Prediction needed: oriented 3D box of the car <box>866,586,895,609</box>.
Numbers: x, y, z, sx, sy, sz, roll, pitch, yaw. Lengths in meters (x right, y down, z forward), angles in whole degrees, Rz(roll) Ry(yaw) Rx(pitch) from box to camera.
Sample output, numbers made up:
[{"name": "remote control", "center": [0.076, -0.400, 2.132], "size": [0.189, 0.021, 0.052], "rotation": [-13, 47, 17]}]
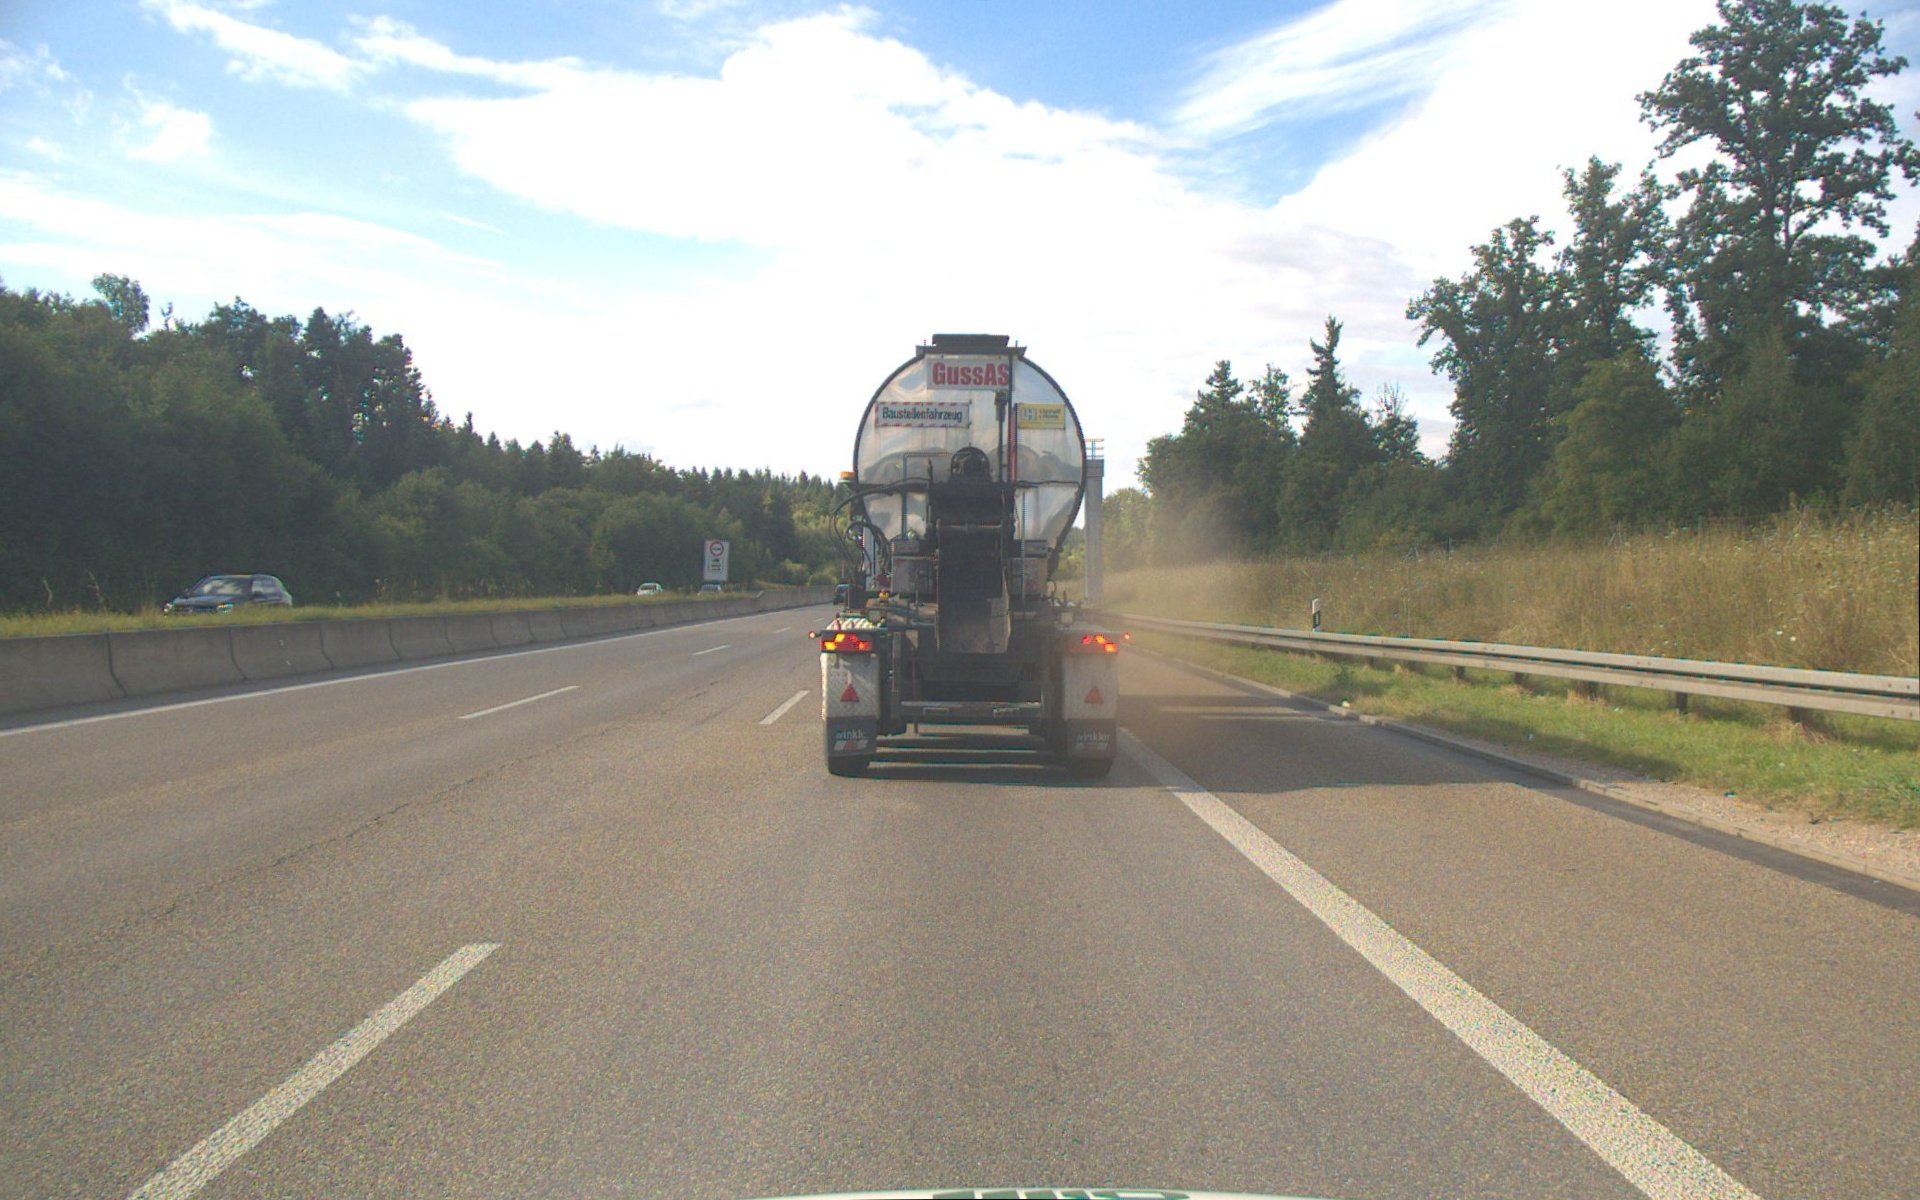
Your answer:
[{"name": "car", "center": [-5.368, -0.169, 111.734], "size": [1.798, 1.544, 4.332], "rotation": [0, 0, -1]}]

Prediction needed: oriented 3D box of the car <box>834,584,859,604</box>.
[{"name": "car", "center": [-9.076, -0.456, 132.432], "size": [1.798, 1.544, 4.332], "rotation": [0, 0, -1]}]

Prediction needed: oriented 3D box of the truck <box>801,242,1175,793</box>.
[{"name": "truck", "center": [0.148, -0.669, 18.413], "size": [2.853, 4.230, 11.268], "rotation": [1, 0, -1]}]

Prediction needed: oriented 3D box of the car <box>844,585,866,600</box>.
[{"name": "car", "center": [-9.931, -0.705, 156.109], "size": [1.818, 1.456, 4.840], "rotation": [0, 0, -1]}]

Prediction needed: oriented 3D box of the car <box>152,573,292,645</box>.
[{"name": "car", "center": [-19.051, 0.206, 42.911], "size": [1.868, 1.747, 3.999], "rotation": [1, 0, -1]}]
